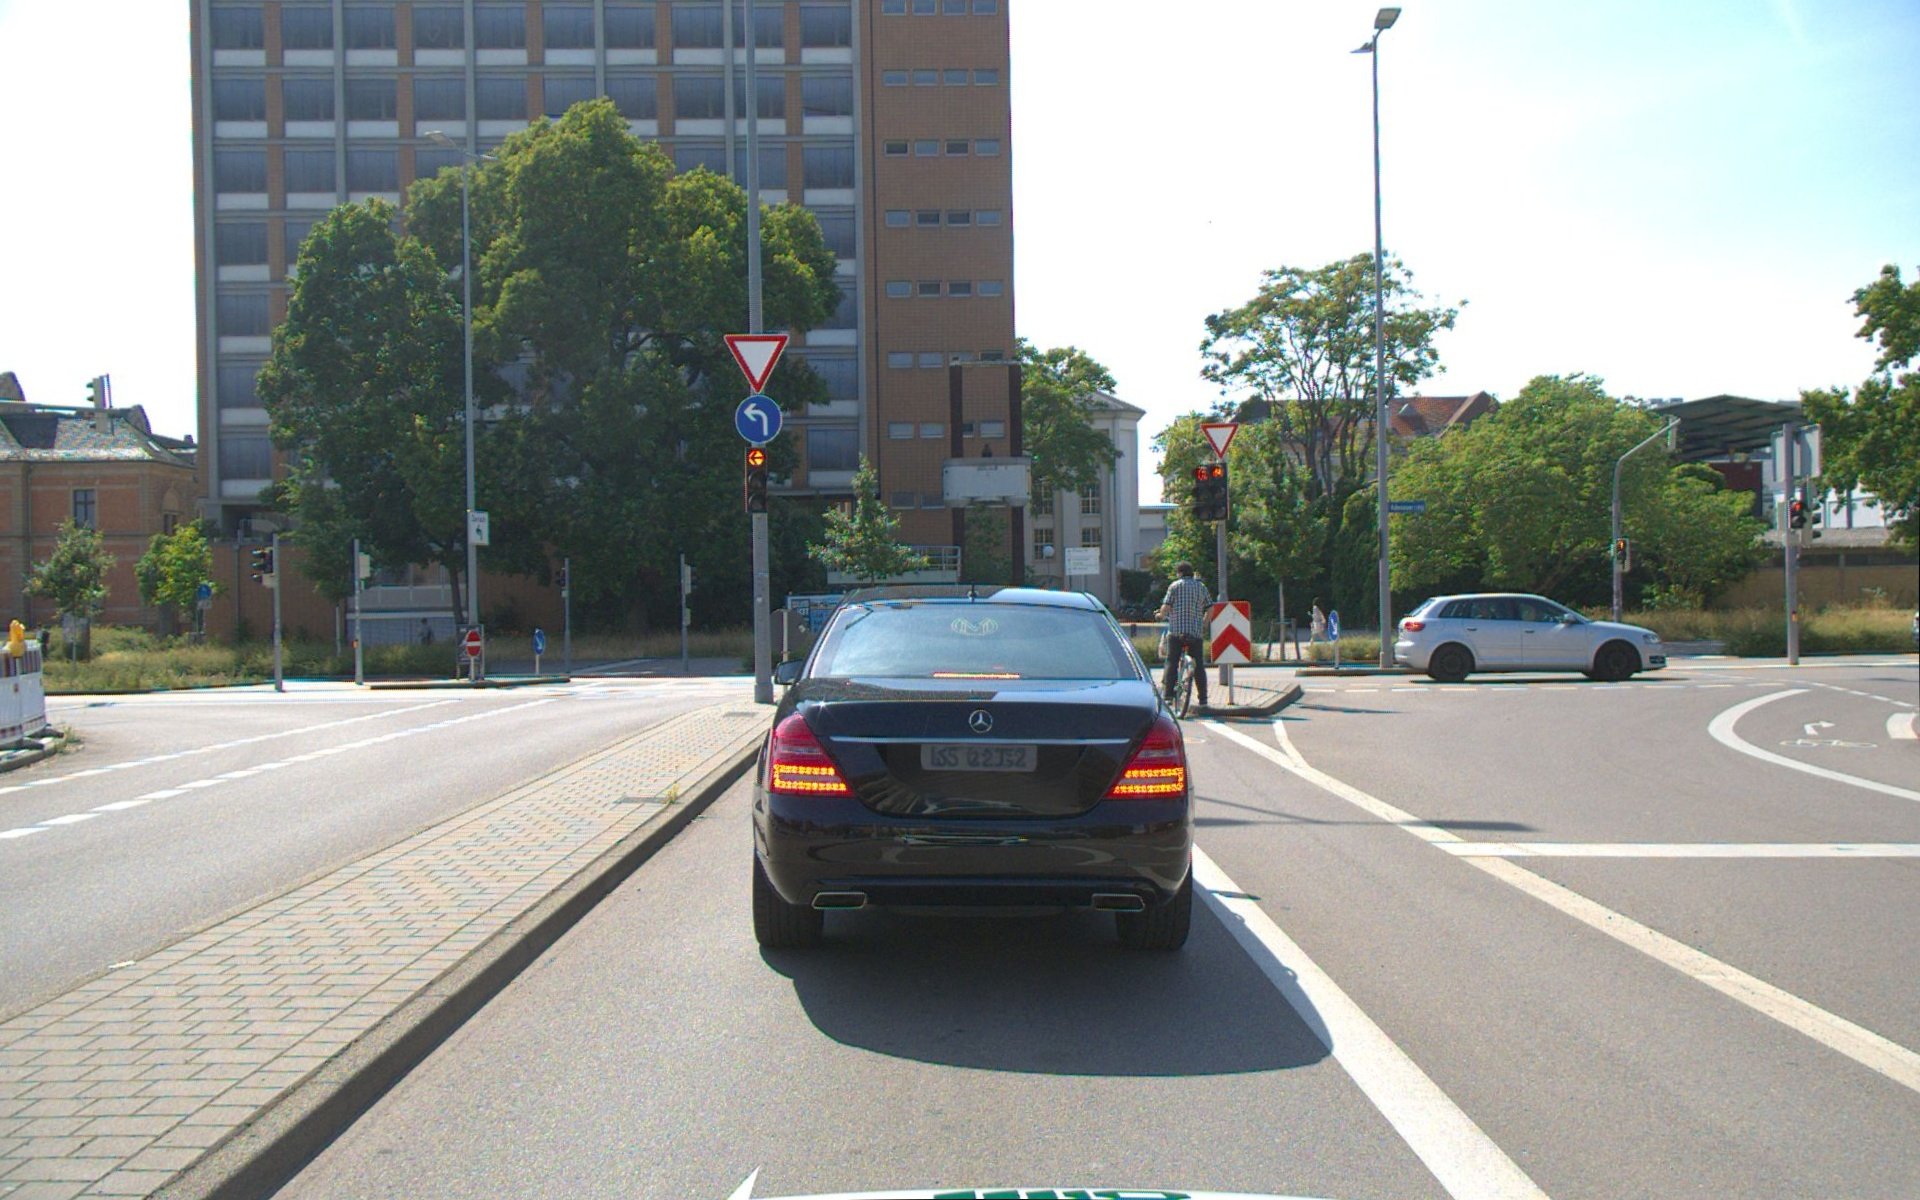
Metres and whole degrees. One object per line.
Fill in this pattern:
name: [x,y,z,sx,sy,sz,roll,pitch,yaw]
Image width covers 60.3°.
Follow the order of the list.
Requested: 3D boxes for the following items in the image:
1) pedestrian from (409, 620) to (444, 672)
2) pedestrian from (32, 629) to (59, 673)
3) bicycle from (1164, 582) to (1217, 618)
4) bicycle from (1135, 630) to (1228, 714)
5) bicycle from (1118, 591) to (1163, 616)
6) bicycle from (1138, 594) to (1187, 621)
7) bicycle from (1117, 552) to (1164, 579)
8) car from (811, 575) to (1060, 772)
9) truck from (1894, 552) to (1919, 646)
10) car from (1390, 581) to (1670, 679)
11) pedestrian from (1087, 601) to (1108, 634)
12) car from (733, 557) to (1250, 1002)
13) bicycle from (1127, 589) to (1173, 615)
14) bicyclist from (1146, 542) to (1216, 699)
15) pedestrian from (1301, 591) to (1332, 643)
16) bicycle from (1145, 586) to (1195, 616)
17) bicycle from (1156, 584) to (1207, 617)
pedestrian: [-18.487,1.593,57.324,0.781,1.756,0.873,-2,-1,22]
pedestrian: [-35.930,2.001,64.973,0.635,1.690,0.649,1,-1,25]
bicycle: [12.752,0.002,91.710,2.766,1.868,0.841,-2,0,-2]
bicycle: [2.738,0.878,20.649,0.679,0.963,1.955,1,0,-7]
bicycle: [11.613,0.217,106.237,2.765,1.506,0.841,-2,0,0]
bicycle: [12.072,0.438,98.524,2.766,1.564,0.841,-2,0,-2]
bicycle: [11.206,-2.161,102.635,2.766,1.586,0.841,-2,0,-2]
car: [-0.223,0.596,15.169,1.953,1.534,3.999,1,0,-1]
truck: [27.773,-0.135,41.851,6.881,2.397,2.413,-2,0,0]
car: [9.196,0.481,26.956,4.069,1.445,1.586,-2,0,9]
pedestrian: [5.299,0.675,63.805,0.776,1.235,0.758,1,0,6]
car: [-0.008,0.647,8.204,1.822,1.557,4.710,1,0,-3]
bicycle: [12.008,0.131,104.720,2.766,1.526,0.841,-2,0,-2]
bicyclist: [2.744,0.257,20.622,0.673,1.911,0.858,0,0,-7]
pedestrian: [11.175,0.526,51.852,0.794,1.607,0.692,-1,-1,1]
bicycle: [12.233,0.059,96.506,2.766,1.688,0.841,-2,1,-2]
bicycle: [12.581,0.008,93.966,2.766,1.775,0.841,-2,0,-2]
